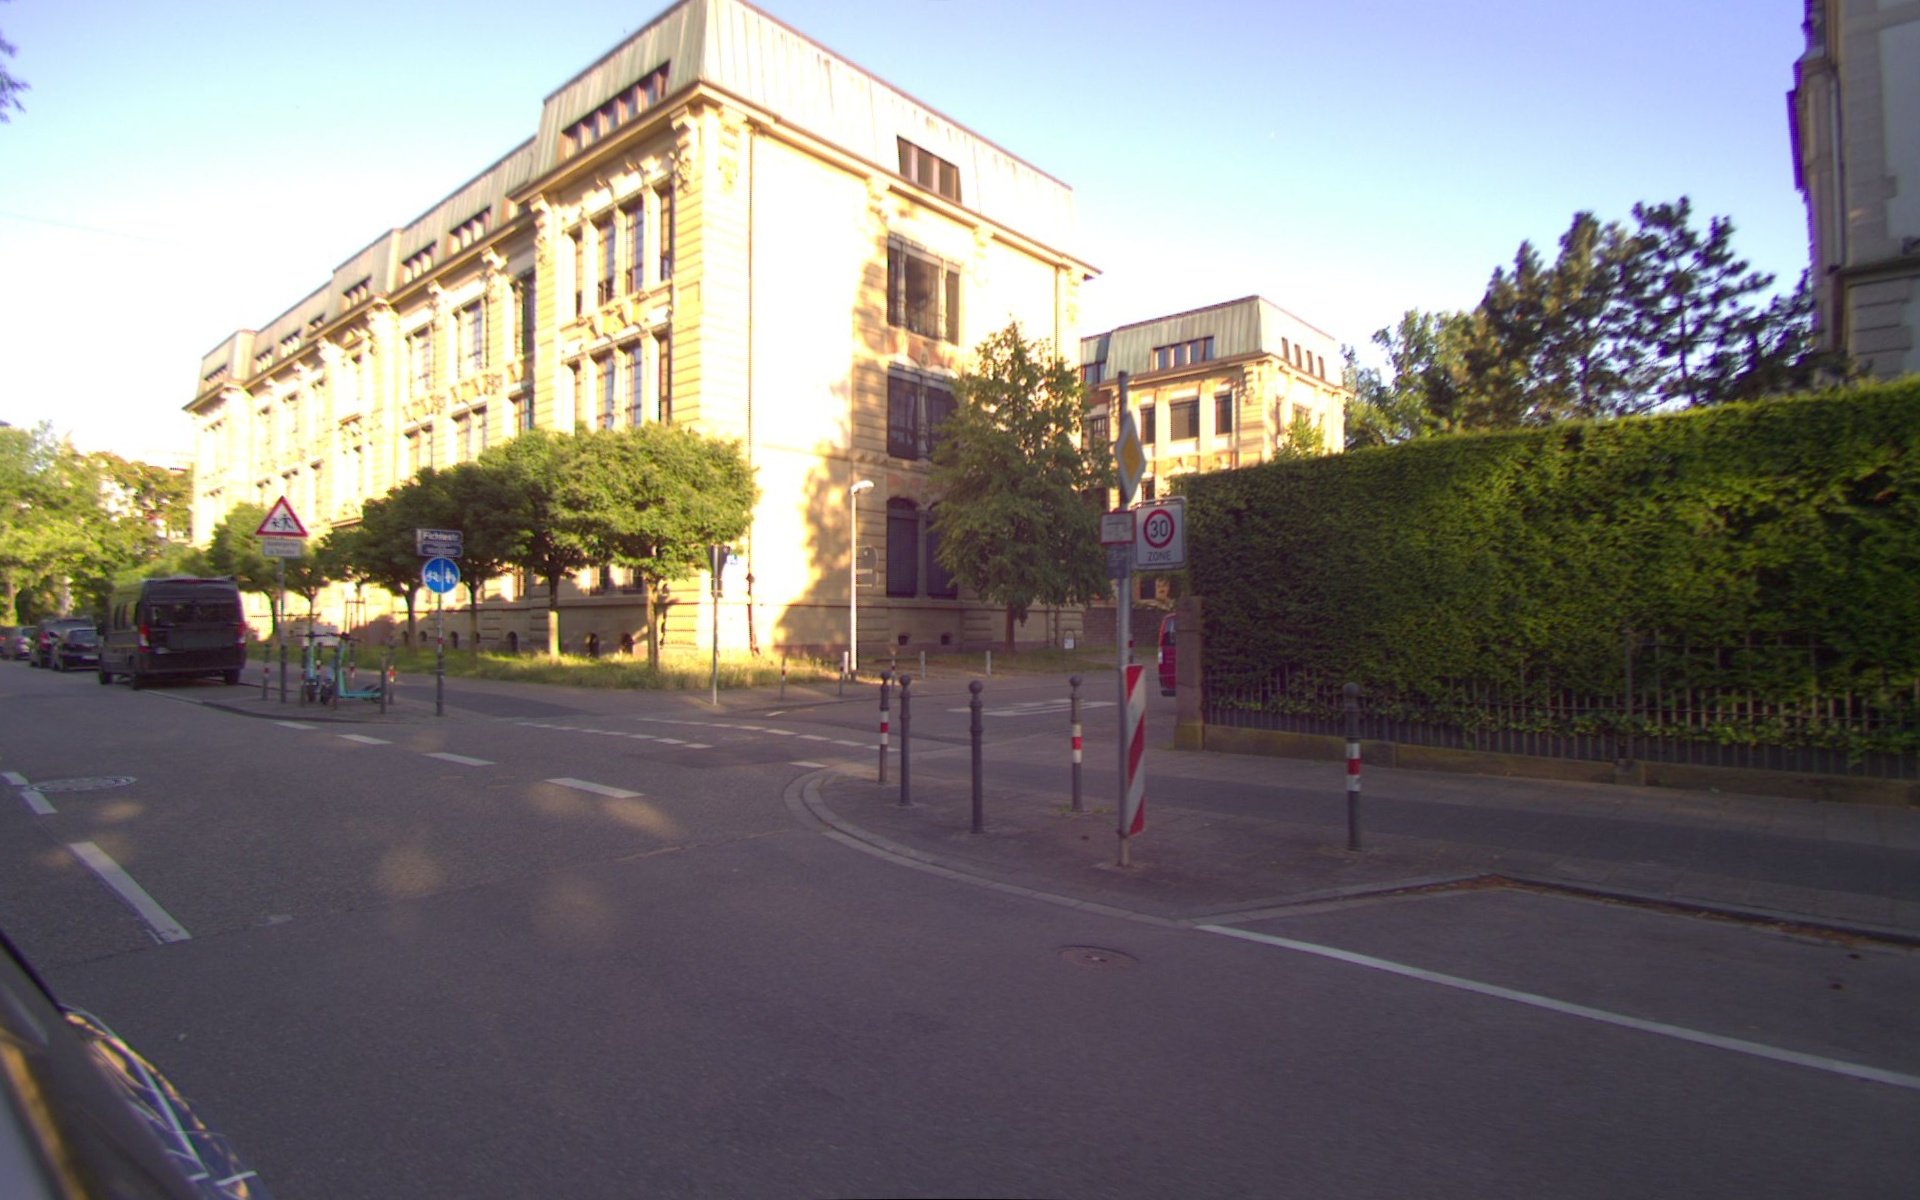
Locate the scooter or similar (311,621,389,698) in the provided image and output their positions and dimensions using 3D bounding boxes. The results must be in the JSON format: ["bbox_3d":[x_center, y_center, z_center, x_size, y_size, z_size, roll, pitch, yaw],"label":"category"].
[{"bbox_3d":[-10.597,1.012,17.623,0.426,1.284,1.341,0,-1,6],"label":"scooter or similar"}]

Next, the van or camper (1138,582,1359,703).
[{"bbox_3d":[5.632,0.812,19.363,2.000,2.001,4.715,-7,-6,43],"label":"van or camper"}]

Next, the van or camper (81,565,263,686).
[{"bbox_3d":[-19.361,0.554,24.697,7.077,2.563,2.206,-1,0,41],"label":"van or camper"}]

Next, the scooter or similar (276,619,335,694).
[{"bbox_3d":[-11.642,0.982,18.033,0.425,1.284,1.347,0,-1,-13],"label":"scooter or similar"}]

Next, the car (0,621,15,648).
[{"bbox_3d":[-55.765,1.951,58.280,3.923,1.507,1.601,-1,-1,42],"label":"car"}]

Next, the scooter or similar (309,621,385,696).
[{"bbox_3d":[-11.002,1.031,18.203,0.426,1.284,1.341,0,-1,6],"label":"scooter or similar"}]

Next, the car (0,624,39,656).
[{"bbox_3d":[-46.388,1.923,49.462,4.376,1.507,1.600,-1,-1,42],"label":"car"}]

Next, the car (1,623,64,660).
[{"bbox_3d":[-41.271,1.801,44.999,4.377,1.507,1.700,-1,-1,43],"label":"car"}]

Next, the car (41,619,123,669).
[{"bbox_3d":[-29.281,1.421,33.717,3.855,1.481,1.678,-1,1,44],"label":"car"}]

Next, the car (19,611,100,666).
[{"bbox_3d":[-33.449,1.392,37.563,4.331,1.880,1.758,-1,1,42],"label":"car"}]
